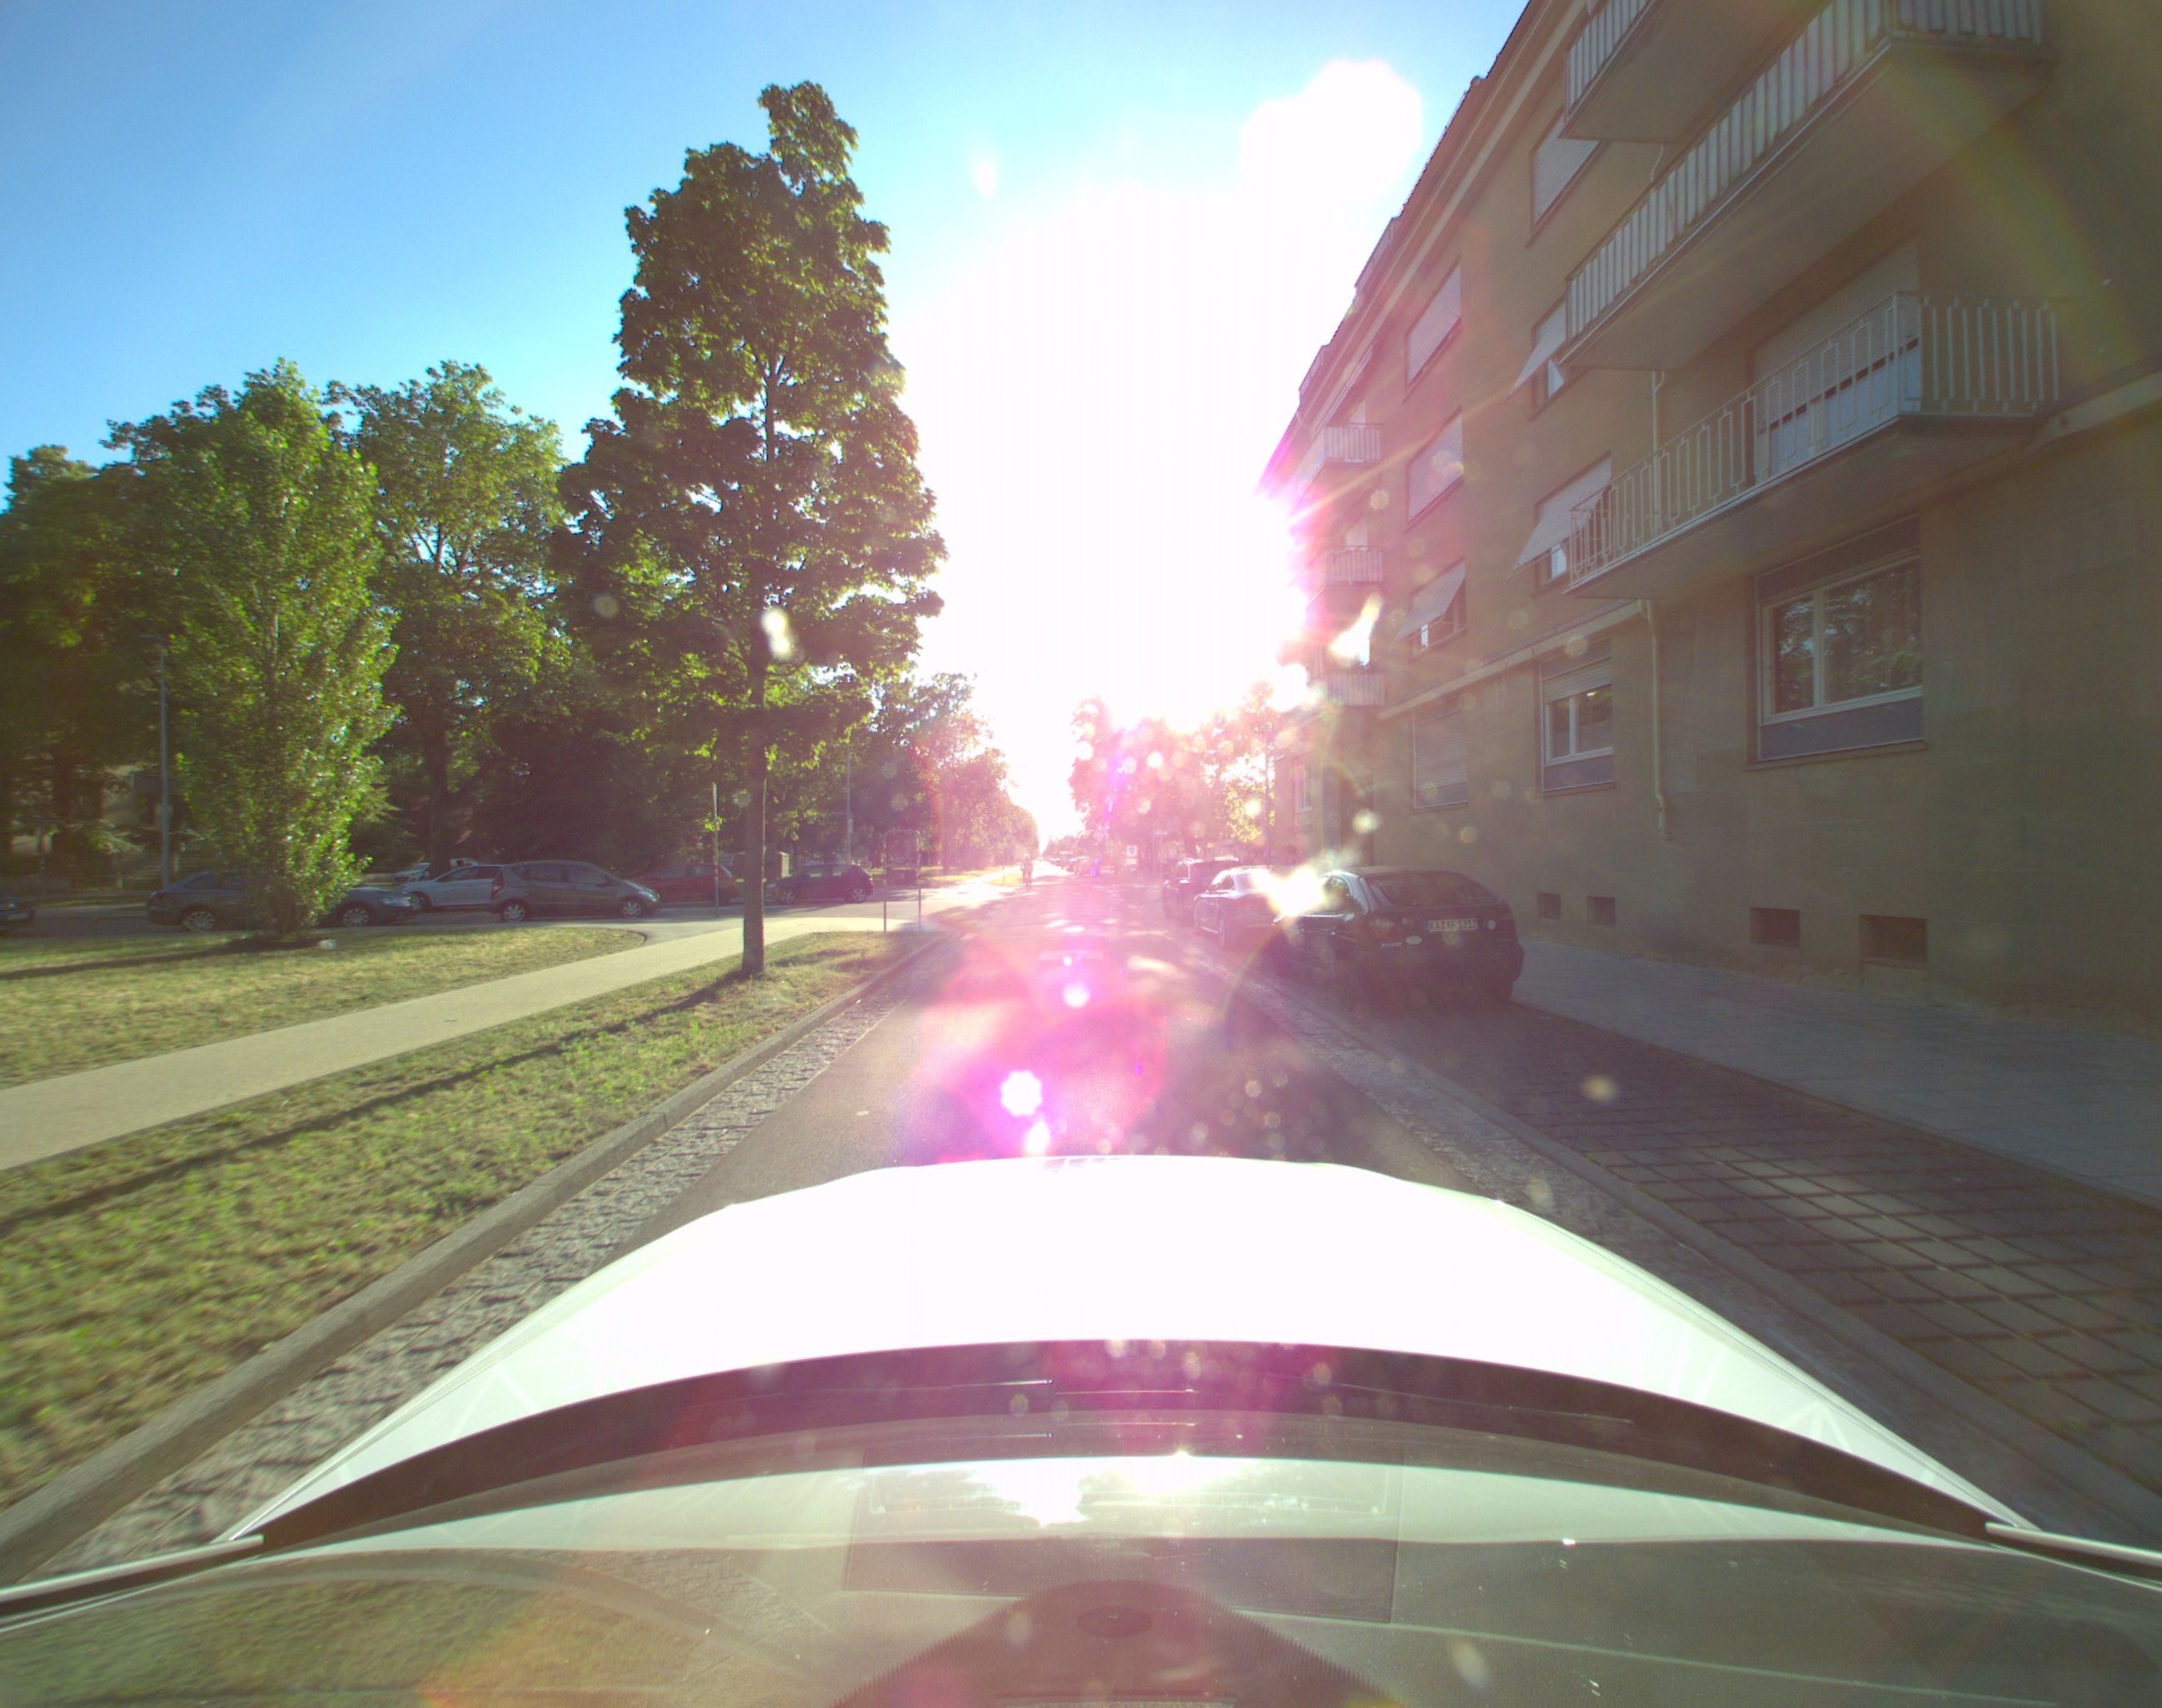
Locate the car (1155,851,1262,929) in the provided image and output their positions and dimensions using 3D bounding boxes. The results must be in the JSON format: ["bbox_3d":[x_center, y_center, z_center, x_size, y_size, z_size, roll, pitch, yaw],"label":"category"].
[{"bbox_3d":[3.014,0.788,20.155,1.699,1.625,4.344,-3,1,-3],"label":"car"}]

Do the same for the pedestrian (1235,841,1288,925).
[{"bbox_3d":[3.902,0.622,17.665,0.950,1.769,0.777,0,0,-4],"label":"pedestrian"}]

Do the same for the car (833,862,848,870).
[{"bbox_3d":[-48.495,2.421,164.336,1.988,1.508,4.111,-1,-1,-2],"label":"car"}]

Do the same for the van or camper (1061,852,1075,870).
[{"bbox_3d":[-2.301,1.266,140.470,2.229,2.904,5.665,-1,-2,-3],"label":"van or camper"}]

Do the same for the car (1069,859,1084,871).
[{"bbox_3d":[-0.564,1.392,103.125,1.727,1.551,4.272,-1,-1,-2],"label":"car"}]

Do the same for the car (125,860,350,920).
[{"bbox_3d":[-23.849,0.993,23.252,4.004,1.574,1.876,0,-2,-23],"label":"car"}]

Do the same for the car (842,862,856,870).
[{"bbox_3d":[-49.346,2.528,173.309,1.988,1.508,4.111,-1,-1,-2],"label":"car"}]

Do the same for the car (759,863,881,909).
[{"bbox_3d":[-9.520,1.155,29.707,4.009,1.574,1.873,0,-2,-28],"label":"car"}]

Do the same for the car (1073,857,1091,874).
[{"bbox_3d":[0.126,1.215,87.737,1.674,1.740,4.508,-1,-1,-3],"label":"car"}]

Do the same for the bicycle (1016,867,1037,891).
[{"bbox_3d":[-2.628,1.205,39.501,0.735,1.135,2.106,0,0,4],"label":"bicycle"}]

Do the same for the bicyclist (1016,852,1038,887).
[{"bbox_3d":[-2.618,0.757,39.593,0.933,1.703,0.906,0,-1,3],"label":"bicyclist"}]

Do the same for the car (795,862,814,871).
[{"bbox_3d":[-48.569,2.257,143.161,1.988,1.508,3.996,-1,-1,-2],"label":"car"}]

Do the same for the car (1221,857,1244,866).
[{"bbox_3d":[28.232,1.448,151.737,3.951,1.552,1.619,-1,-1,24],"label":"car"}]

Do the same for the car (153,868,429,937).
[{"bbox_3d":[-18.319,1.075,19.199,4.284,1.400,1.825,-1,-1,-25],"label":"car"}]

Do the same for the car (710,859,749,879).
[{"bbox_3d":[-45.964,1.969,106.655,2.715,2.463,6.308,-1,-1,-4],"label":"car"}]

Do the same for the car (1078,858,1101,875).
[{"bbox_3d":[0.742,1.141,73.726,1.674,1.486,4.803,-1,-1,-3],"label":"car"}]

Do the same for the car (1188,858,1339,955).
[{"bbox_3d":[3.098,0.838,14.755,1.698,1.420,4.347,-3,-1,0],"label":"car"}]

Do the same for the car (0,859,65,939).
[{"bbox_3d":[-24.446,0.956,16.593,4.280,1.643,1.826,-1,-1,-23],"label":"car"}]

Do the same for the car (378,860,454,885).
[{"bbox_3d":[-43.724,1.178,53.666,1.989,1.618,3.734,0,0,-3],"label":"car"}]

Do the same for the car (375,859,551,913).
[{"bbox_3d":[-19.121,0.963,25.441,4.005,1.574,1.876,0,-2,-24],"label":"car"}]

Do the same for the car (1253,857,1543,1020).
[{"bbox_3d":[3.359,0.805,9.549,1.698,1.420,4.033,-3,-1,-1],"label":"car"}]

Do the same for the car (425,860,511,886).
[{"bbox_3d":[-50.585,1.531,67.302,4.946,2.114,2.672,0,-1,-6],"label":"car"}]

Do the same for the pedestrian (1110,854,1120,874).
[{"bbox_3d":[2.990,0.910,71.830,0.751,1.736,0.731,0,0,-3],"label":"pedestrian"}]

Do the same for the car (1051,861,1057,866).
[{"bbox_3d":[-7.821,2.794,235.203,1.623,1.410,4.244,-1,-1,-3],"label":"car"}]

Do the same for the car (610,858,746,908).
[{"bbox_3d":[-13.712,0.977,27.846,4.009,1.574,1.873,0,-2,-28],"label":"car"}]

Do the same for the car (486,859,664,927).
[{"bbox_3d":[-13.242,0.972,21.607,3.855,1.631,1.824,-1,-1,-27],"label":"car"}]

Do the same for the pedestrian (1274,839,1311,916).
[{"bbox_3d":[5.109,0.557,19.673,0.735,1.830,0.550,1,-1,-39],"label":"pedestrian"}]

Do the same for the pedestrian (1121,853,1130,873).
[{"bbox_3d":[3.914,0.766,71.878,0.723,1.736,0.731,0,0,-3],"label":"pedestrian"}]
